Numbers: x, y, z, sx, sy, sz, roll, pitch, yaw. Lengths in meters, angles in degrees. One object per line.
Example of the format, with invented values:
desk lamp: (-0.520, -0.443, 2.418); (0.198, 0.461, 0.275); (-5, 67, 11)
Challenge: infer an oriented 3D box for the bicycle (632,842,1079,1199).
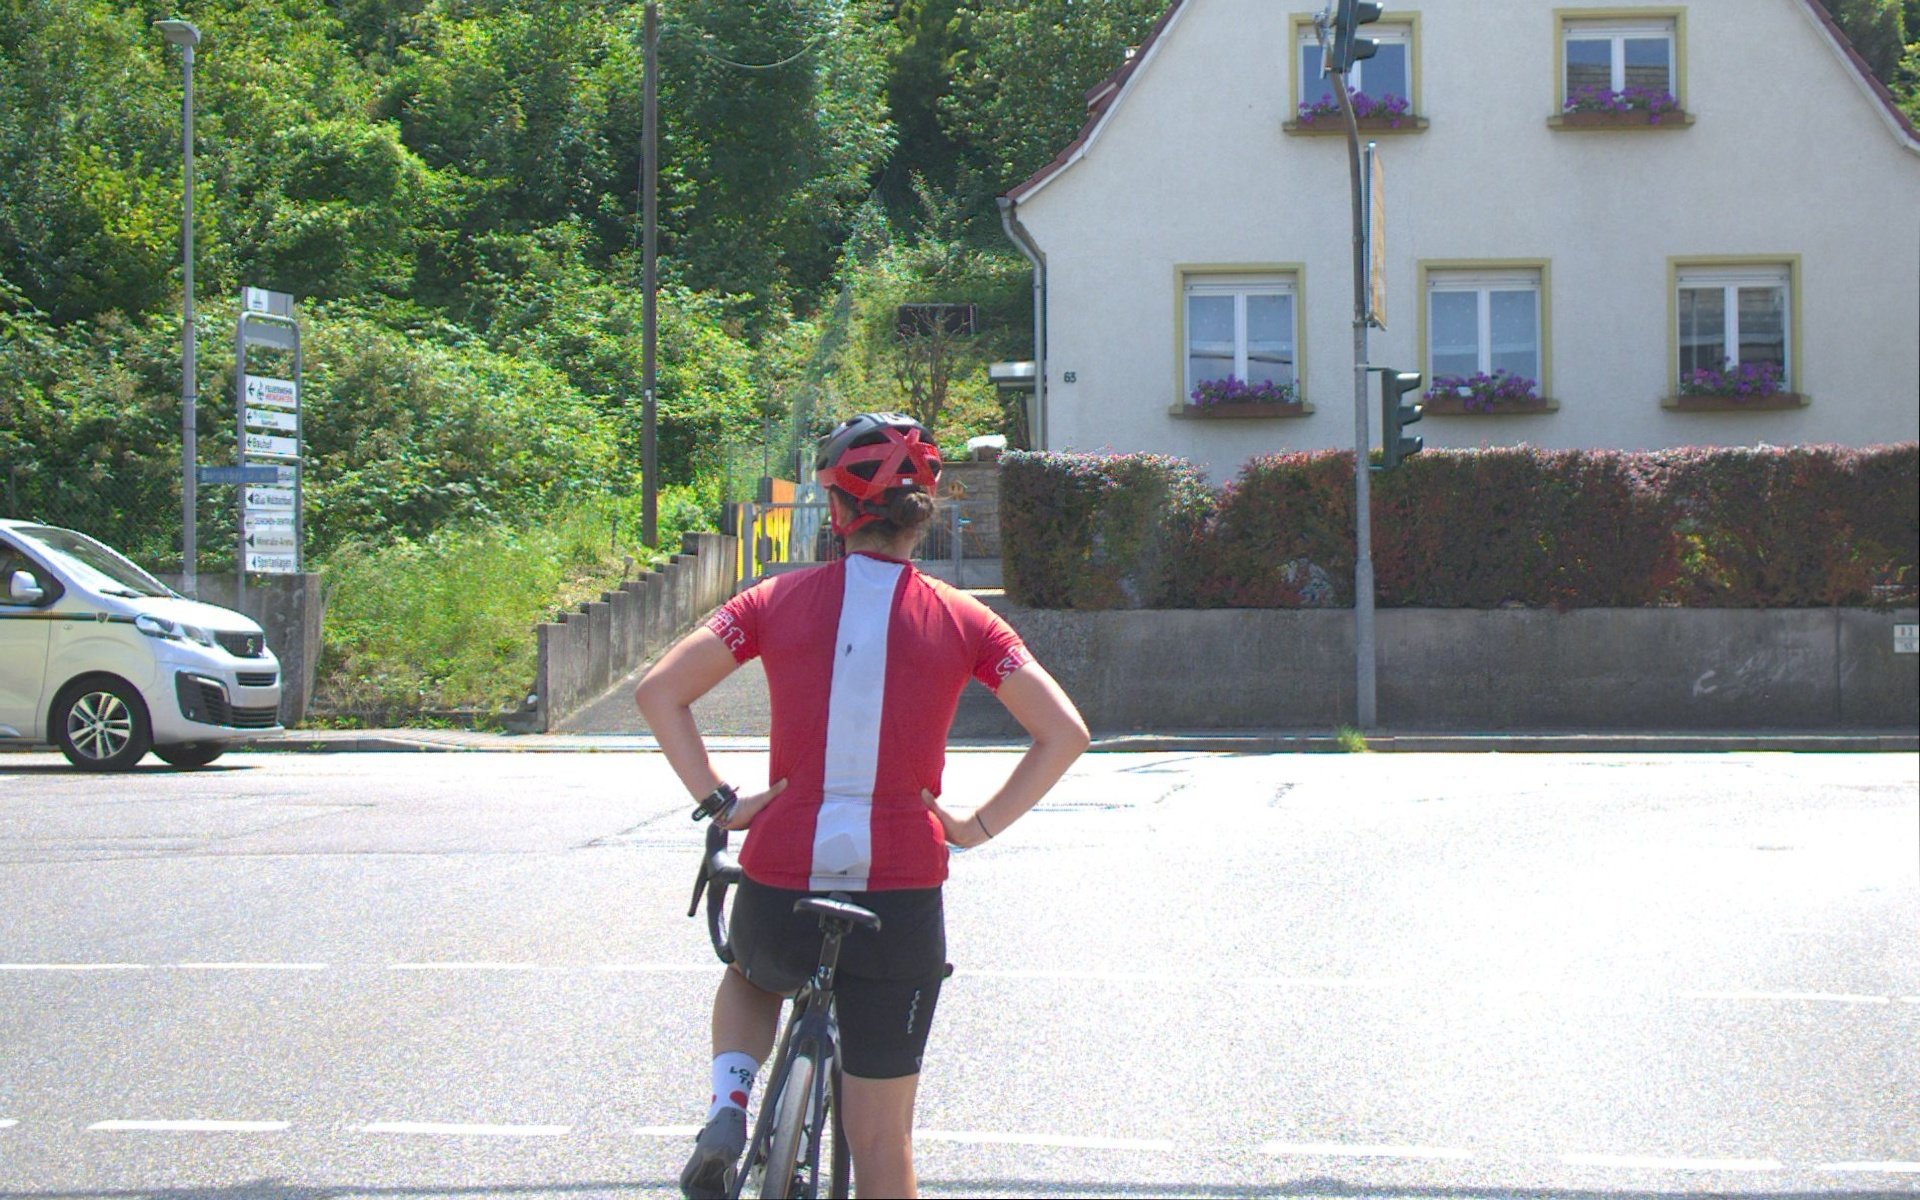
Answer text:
bicycle: (-0.228, 0.929, 5.715); (0.629, 0.902, 1.657); (1, 1, -5)

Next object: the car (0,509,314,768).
car: (-7.456, 0.285, 25.429); (4.875, 1.816, 1.999); (0, -1, 8)

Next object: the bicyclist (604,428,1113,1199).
bicyclist: (-0.199, 0.566, 5.704); (0.760, 1.659, 0.869); (1, 1, -5)
